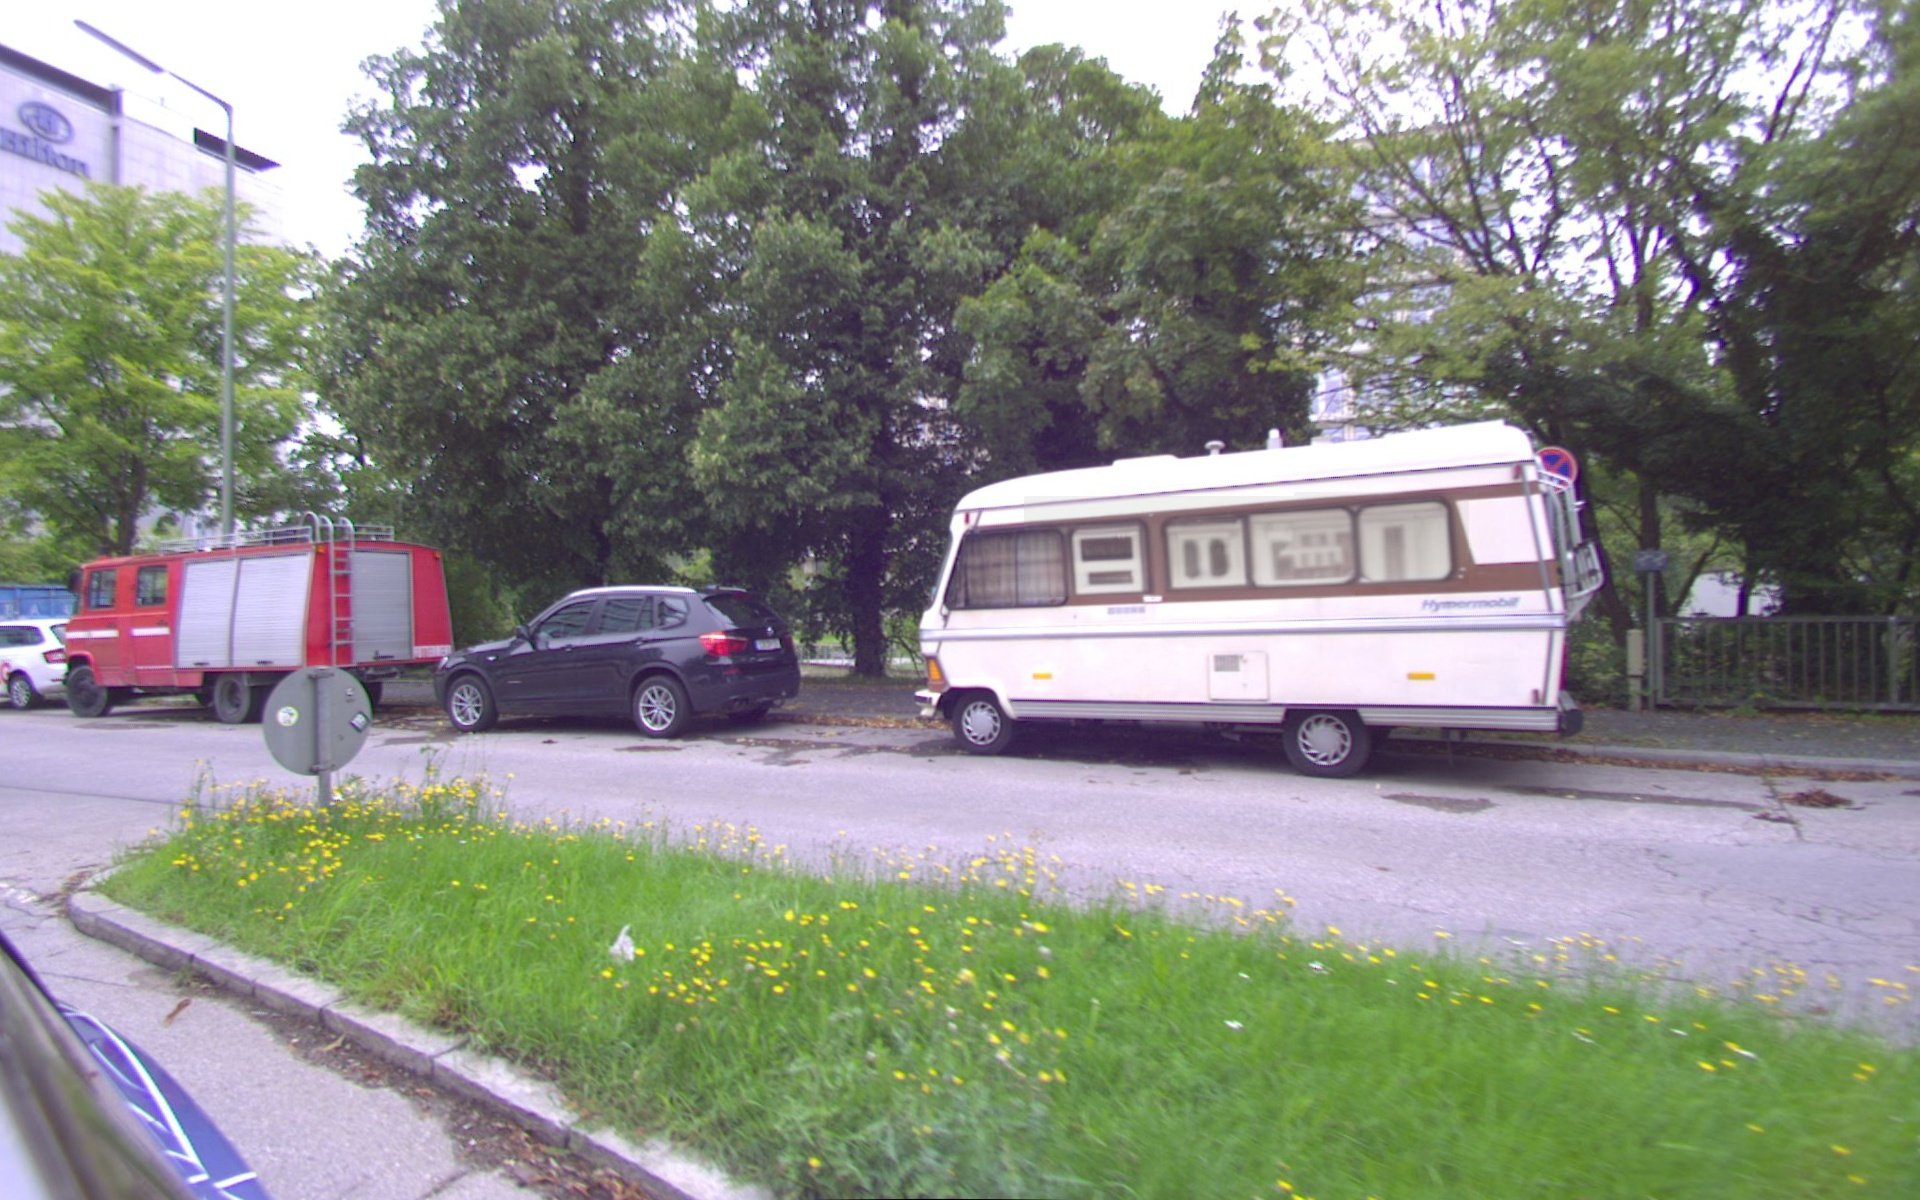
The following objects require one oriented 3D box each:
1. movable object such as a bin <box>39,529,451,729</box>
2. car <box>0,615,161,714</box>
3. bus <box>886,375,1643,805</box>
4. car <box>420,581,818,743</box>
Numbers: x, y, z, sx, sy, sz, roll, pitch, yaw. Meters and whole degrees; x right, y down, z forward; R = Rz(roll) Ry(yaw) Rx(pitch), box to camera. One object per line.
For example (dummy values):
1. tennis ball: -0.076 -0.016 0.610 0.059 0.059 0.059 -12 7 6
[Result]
1. movable object such as a bin: -10.471 0.429 14.739 6.148 2.477 2.094 -1 -1 24
2. car: -16.360 1.081 17.645 4.221 1.561 1.771 -1 -1 18
3. bus: 2.362 0.001 8.835 5.710 2.719 2.299 -1 -1 30
4. car: -4.067 0.685 12.041 4.429 1.662 1.769 -1 -1 22
